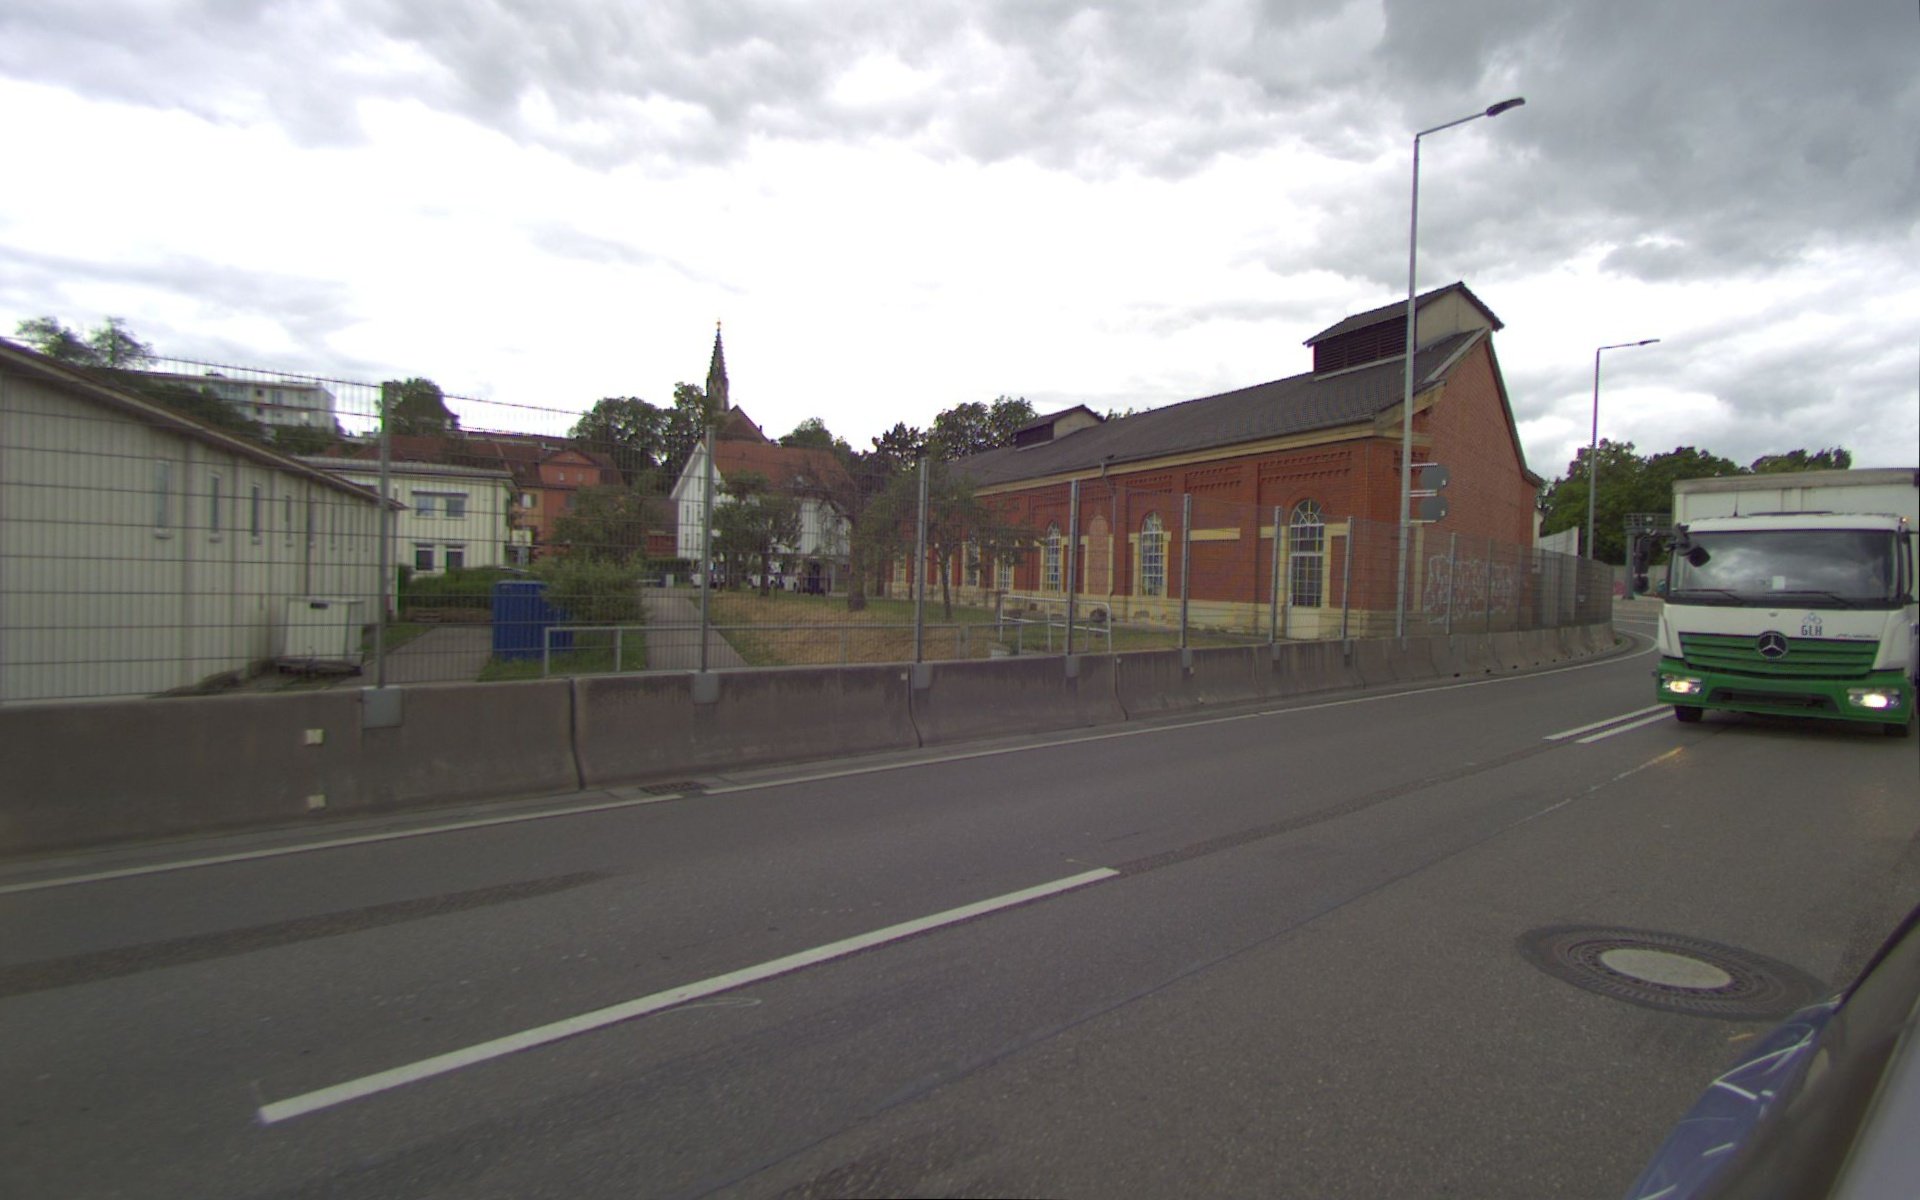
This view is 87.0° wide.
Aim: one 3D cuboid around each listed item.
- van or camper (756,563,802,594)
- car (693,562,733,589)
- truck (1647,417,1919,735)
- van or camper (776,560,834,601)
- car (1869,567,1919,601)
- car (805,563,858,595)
[{"bbox_3d":[-12.449,-1.474,69.221,1.866,2.039,4.505,0,1,-27],"label":"van or camper"},{"bbox_3d":[-17.284,-1.707,70.631,1.958,1.805,4.007,0,1,-25],"label":"car"},{"bbox_3d":[11.809,-0.228,13.740,7.292,3.280,2.631,0,-1,-44],"label":"truck"},{"bbox_3d":[-8.634,-1.083,55.979,1.958,2.172,4.579,0,1,-25],"label":"van or camper"},{"bbox_3d":[52.454,-0.878,55.692,1.937,1.829,5.743,0,0,25],"label":"car"},{"bbox_3d":[-7.625,-1.218,59.826,1.959,1.805,4.007,0,1,-26],"label":"car"}]
